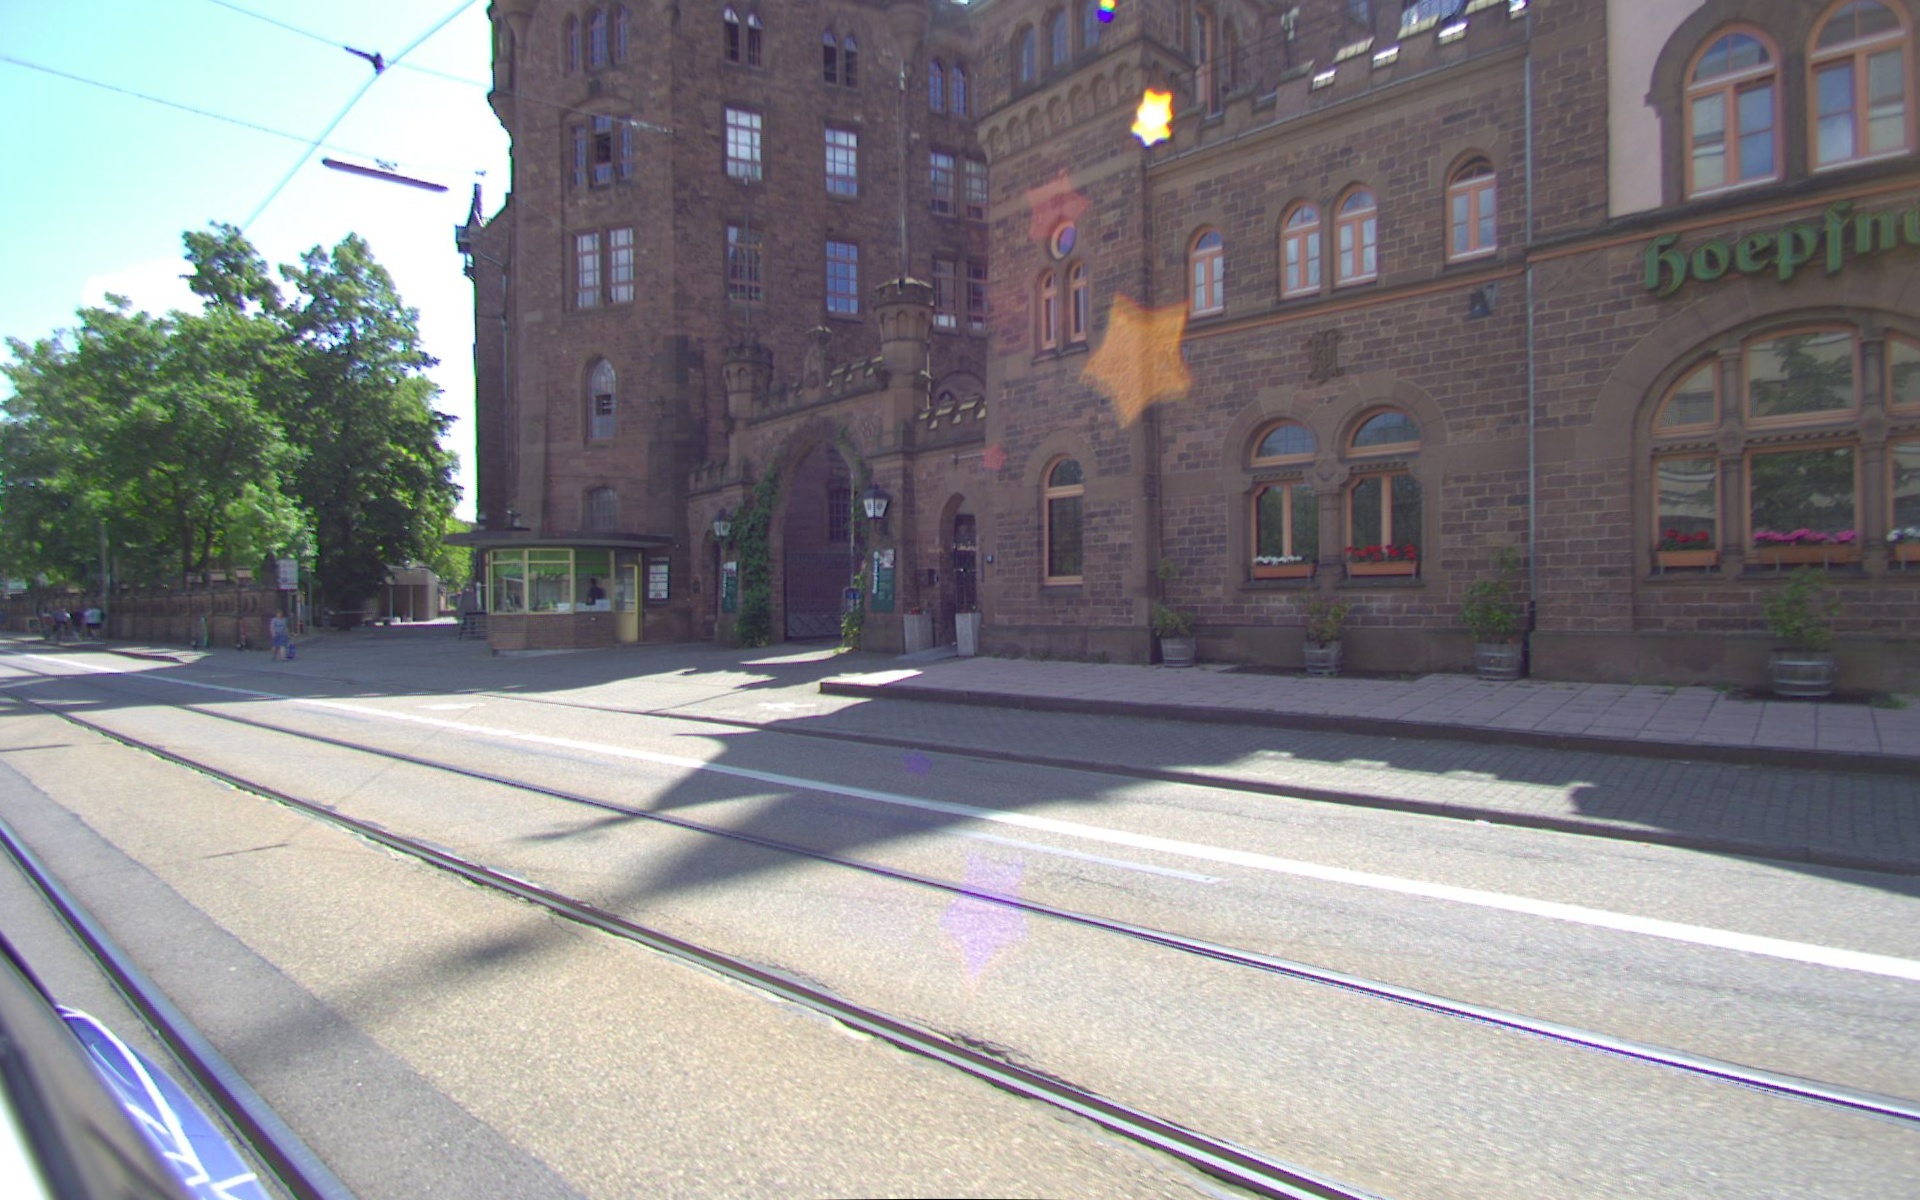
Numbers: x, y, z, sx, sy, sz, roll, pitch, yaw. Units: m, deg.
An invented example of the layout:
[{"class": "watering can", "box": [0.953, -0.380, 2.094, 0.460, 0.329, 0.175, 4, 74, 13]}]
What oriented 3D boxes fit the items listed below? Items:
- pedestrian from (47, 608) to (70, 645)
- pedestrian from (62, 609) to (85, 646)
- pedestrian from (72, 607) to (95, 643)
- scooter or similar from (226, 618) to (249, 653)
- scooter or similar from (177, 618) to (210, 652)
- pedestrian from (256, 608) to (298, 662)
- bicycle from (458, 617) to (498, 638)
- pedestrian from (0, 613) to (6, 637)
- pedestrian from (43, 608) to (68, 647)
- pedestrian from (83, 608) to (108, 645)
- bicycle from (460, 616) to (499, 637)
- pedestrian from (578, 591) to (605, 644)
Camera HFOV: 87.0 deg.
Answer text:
[{"class": "pedestrian", "box": [-45.494, 1.324, 51.077, 0.919, 1.803, 0.670, -1, 2, 41]}, {"class": "pedestrian", "box": [-43.703, 1.366, 49.895, 0.919, 1.761, 0.670, -1, 2, 41]}, {"class": "pedestrian", "box": [-45.279, 1.299, 52.274, 0.919, 1.789, 0.670, -1, 2, 41]}, {"class": "scooter or similar", "box": [-24.963, 1.219, 34.971, 0.324, 1.135, 1.227, -2, 0, -21]}, {"class": "scooter or similar", "box": [-27.903, 1.274, 36.847, 0.343, 1.135, 1.227, -1, 2, -6]}, {"class": "pedestrian", "box": [-20.936, 1.063, 31.015, 0.919, 1.600, 0.791, -1, 2, 41]}, {"class": "bicycle", "box": [-24.361, 1.379, 51.197, 1.753, 1.001, 0.494, -2, 0, -15]}, {"class": "pedestrian", "box": [-73.349, 1.924, 77.136, 0.919, 1.761, 0.741, -1, 1, 41]}, {"class": "pedestrian", "box": [-43.628, 1.335, 48.800, 0.919, 1.805, 0.714, -1, 2, 41]}, {"class": "pedestrian", "box": [-43.126, 1.335, 50.505, 0.919, 1.789, 0.745, -1, 2, 41]}, {"class": "bicycle", "box": [-24.610, 1.366, 51.860, 1.753, 1.001, 0.494, -2, 0, -15]}, {"class": "pedestrian", "box": [-9.952, 0.475, 27.333, 0.573, 1.411, 0.423, -1, 0, -10]}]
